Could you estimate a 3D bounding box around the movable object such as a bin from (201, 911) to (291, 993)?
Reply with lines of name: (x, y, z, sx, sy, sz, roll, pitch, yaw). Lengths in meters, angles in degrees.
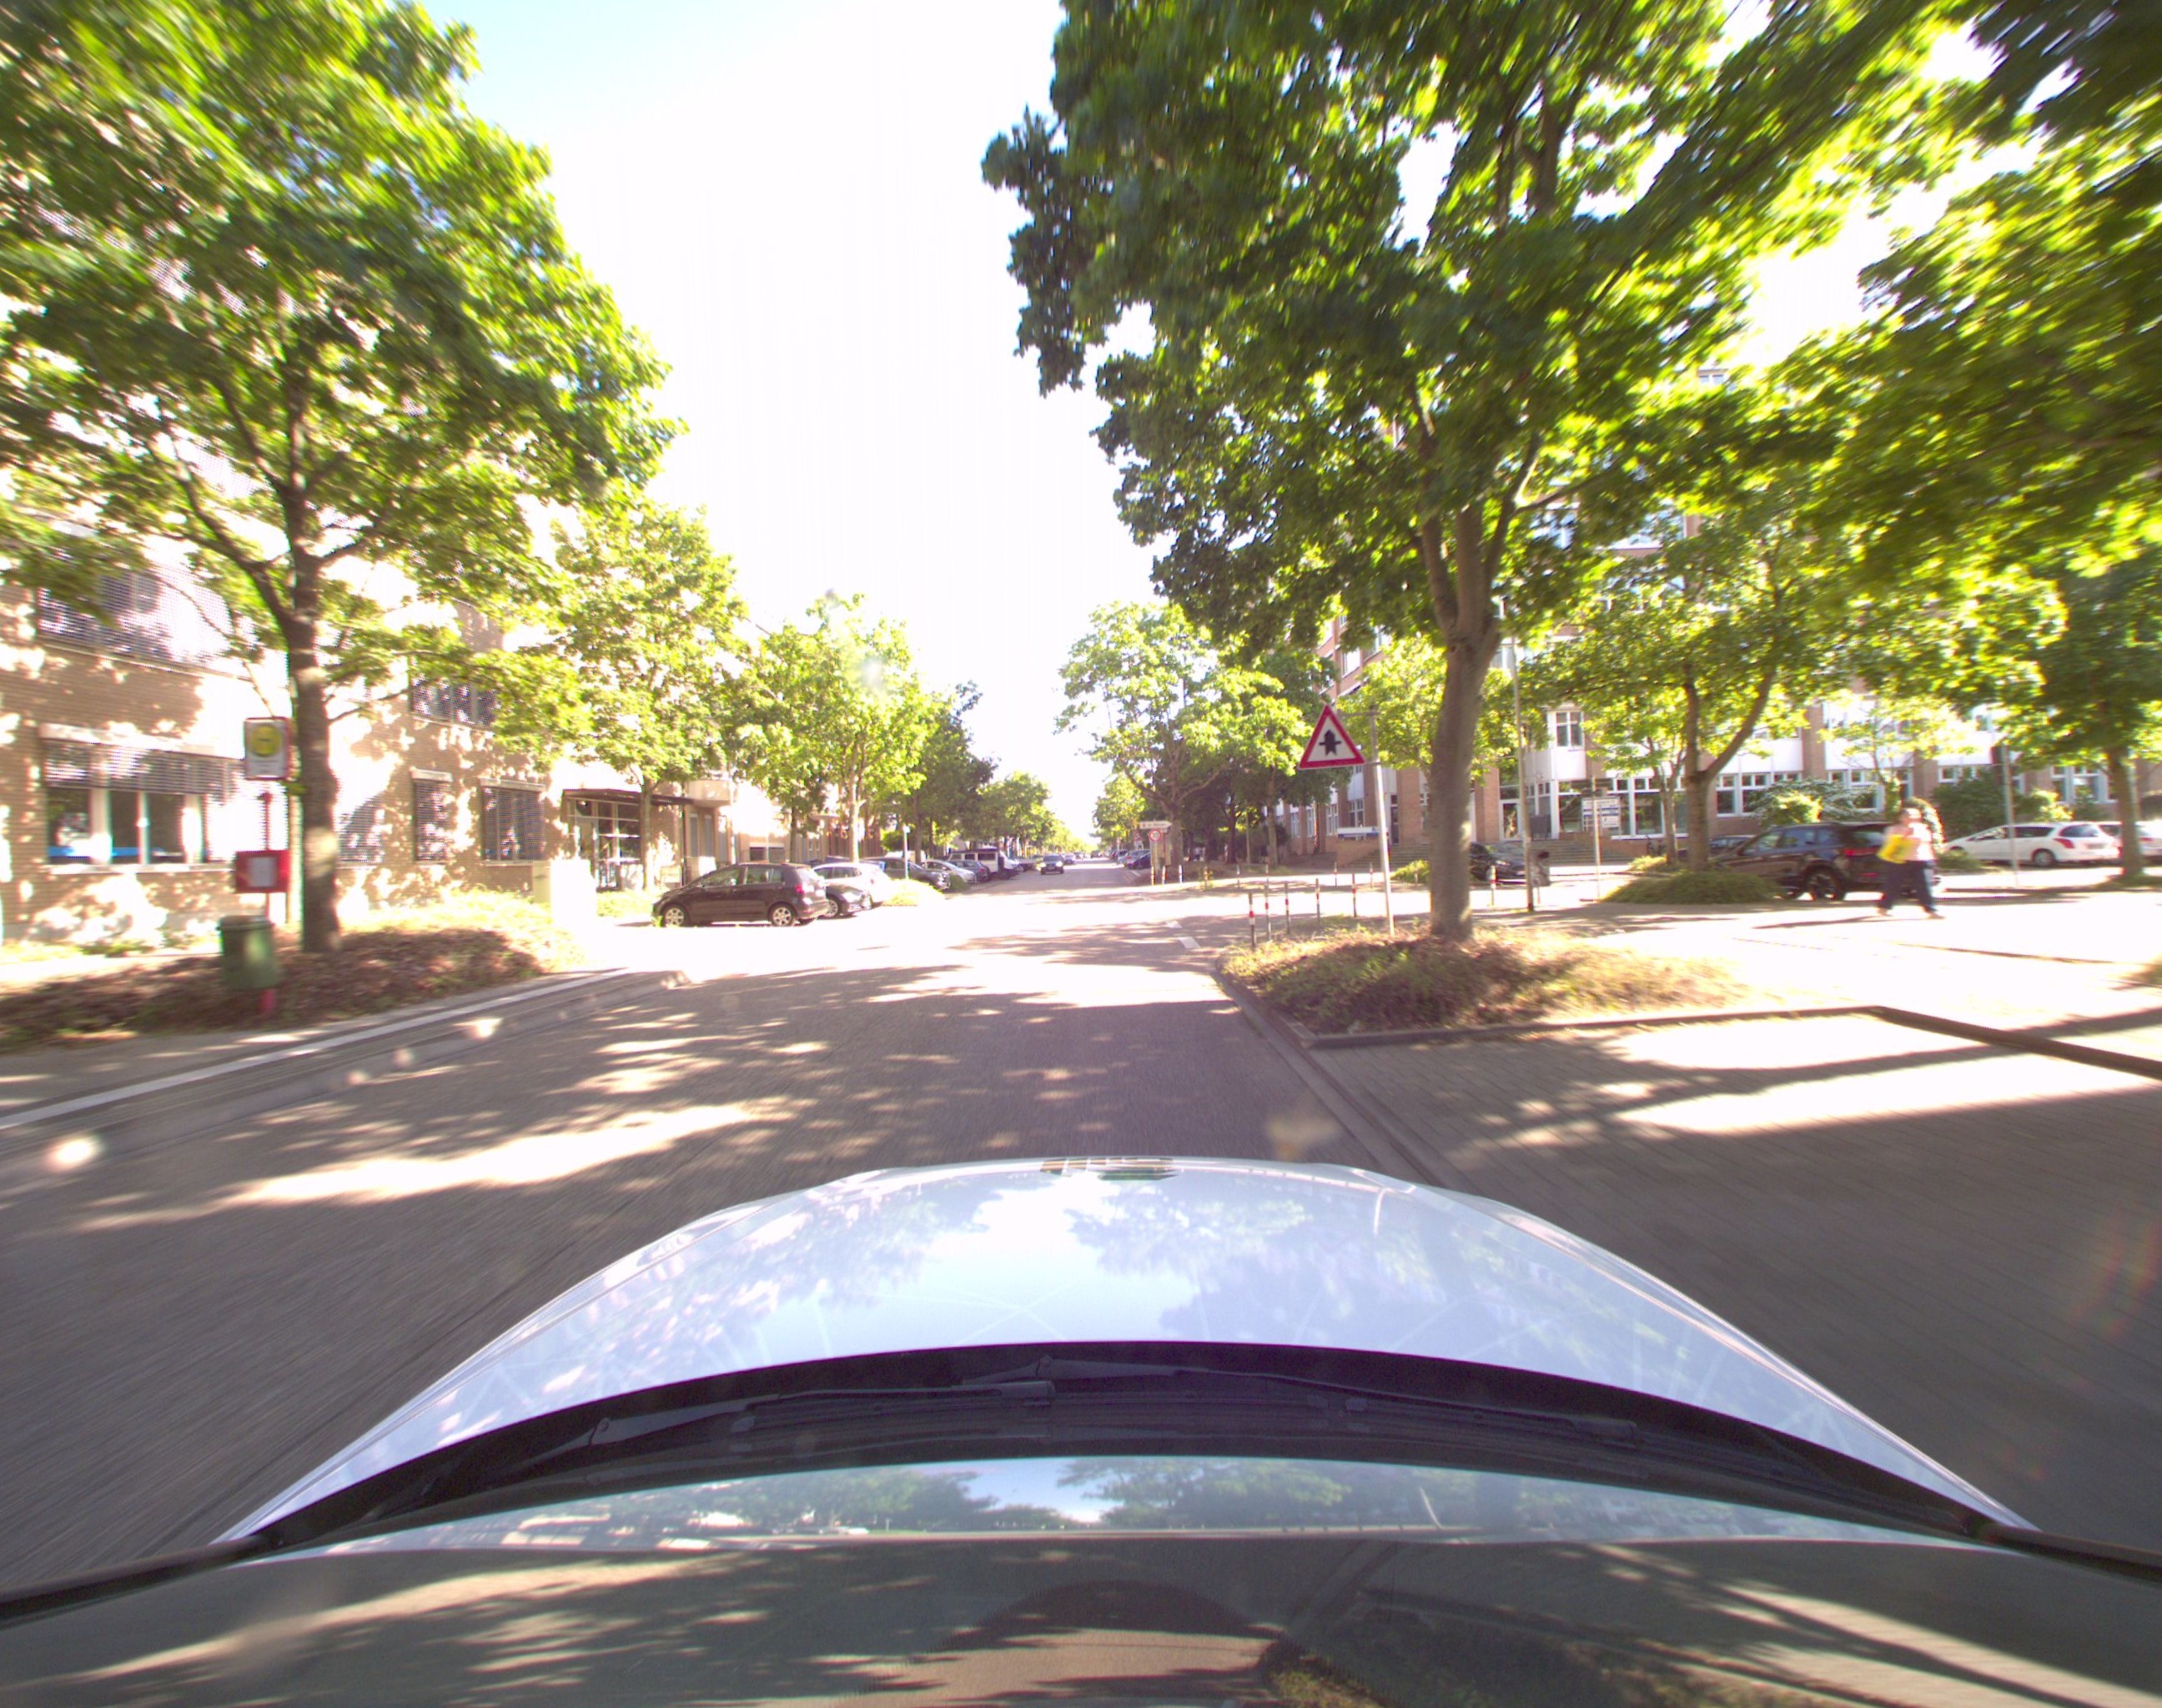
movable object such as a bin: (-7.963, 0.923, 7.778, 0.440, 0.731, 0.408, -1, -1, 1)

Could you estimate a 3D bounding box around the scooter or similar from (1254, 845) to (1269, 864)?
scooter or similar: (12.963, 0.037, 58.469, 0.548, 1.325, 1.803, -1, 0, -4)

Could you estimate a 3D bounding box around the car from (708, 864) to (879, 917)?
car: (-7.944, 0.991, 22.768, 4.137, 1.402, 1.801, 0, 0, 0)

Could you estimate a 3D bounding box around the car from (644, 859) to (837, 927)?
car: (-8.276, 0.923, 20.047, 3.973, 1.570, 1.728, 0, 0, 0)

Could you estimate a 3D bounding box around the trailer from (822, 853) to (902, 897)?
trailer: (-8.791, 0.830, 32.882, 2.715, 1.687, 1.713, -1, 0, 1)

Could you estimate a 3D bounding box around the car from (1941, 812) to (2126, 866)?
car: (33.881, -0.555, 29.173, 1.910, 1.723, 4.116, -2, 1, 3)

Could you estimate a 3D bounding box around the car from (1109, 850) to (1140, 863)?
car: (6.295, 0.337, 118.486, 4.256, 1.633, 1.857, -3, 0, -2)

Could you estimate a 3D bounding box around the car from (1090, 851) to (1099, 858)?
car: (2.959, 0.120, 177.244, 1.926, 1.597, 4.367, -3, 0, 1)

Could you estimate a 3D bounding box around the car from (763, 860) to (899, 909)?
car: (-7.832, 0.947, 25.740, 3.742, 1.452, 1.754, 0, 0, 0)

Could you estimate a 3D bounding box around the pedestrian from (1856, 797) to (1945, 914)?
pedestrian: (11.482, 0.020, 11.427, 0.537, 1.582, 0.646, -2, 0, -8)

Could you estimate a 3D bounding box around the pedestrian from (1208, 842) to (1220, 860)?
pedestrian: (13.363, -0.332, 81.858, 0.696, 1.711, 0.917, -5, 0, -10)

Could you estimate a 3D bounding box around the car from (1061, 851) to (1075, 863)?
car: (-1.647, 0.412, 105.568, 1.638, 1.420, 4.001, -2, 0, 1)

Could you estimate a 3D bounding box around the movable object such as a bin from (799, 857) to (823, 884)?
movable object such as a bin: (-16.430, 0.998, 49.572, 1.145, 1.619, 1.436, -2, 0, -11)

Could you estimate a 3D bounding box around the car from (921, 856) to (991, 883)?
car: (-7.276, 0.904, 47.592, 3.763, 1.492, 1.834, -1, 0, 2)

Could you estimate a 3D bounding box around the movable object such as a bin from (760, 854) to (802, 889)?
movable object such as a bin: (-16.422, 0.943, 44.625, 1.592, 1.796, 1.665, -2, 0, 3)

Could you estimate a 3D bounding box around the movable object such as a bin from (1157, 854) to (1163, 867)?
movable object such as a bin: (4.663, 0.396, 48.038, 0.297, 0.753, 0.467, -4, -1, 1)

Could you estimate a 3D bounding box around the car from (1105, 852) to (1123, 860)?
car: (7.637, 0.430, 190.024, 3.979, 1.792, 1.997, -2, 0, -4)

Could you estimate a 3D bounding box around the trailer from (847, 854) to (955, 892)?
trailer: (-7.720, 0.806, 35.196, 4.250, 1.572, 1.854, -1, 0, -3)

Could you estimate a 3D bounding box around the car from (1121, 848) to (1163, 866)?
car: (6.584, 0.317, 88.363, 4.391, 1.618, 1.912, -5, 0, 0)

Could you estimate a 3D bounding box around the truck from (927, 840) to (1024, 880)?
truck: (-7.140, 0.398, 55.653, 6.209, 2.422, 2.188, -2, 0, 1)

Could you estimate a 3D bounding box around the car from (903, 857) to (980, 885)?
car: (-7.632, 0.912, 44.738, 3.817, 1.461, 1.734, -1, 0, 4)

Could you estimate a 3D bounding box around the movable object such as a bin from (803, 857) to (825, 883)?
movable object such as a bin: (-16.661, 1.008, 50.863, 1.145, 1.563, 1.240, -2, 0, -11)

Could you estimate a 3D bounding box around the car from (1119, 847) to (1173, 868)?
car: (5.518, 0.300, 69.717, 4.345, 1.597, 1.936, -2, 0, -6)

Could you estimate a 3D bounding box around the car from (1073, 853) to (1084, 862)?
car: (-0.512, 0.643, 157.339, 1.886, 1.684, 4.351, -3, 0, -1)

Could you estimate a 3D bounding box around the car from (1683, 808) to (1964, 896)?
car: (15.053, 0.039, 16.921, 1.733, 1.566, 4.363, -1, -2, -1)

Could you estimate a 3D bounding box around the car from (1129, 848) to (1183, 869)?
car: (5.690, 0.347, 62.445, 3.923, 1.439, 1.773, -2, 0, -1)

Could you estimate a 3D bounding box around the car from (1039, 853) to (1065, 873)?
car: (-2.258, 0.692, 64.804, 1.773, 1.511, 4.001, -2, 0, 1)

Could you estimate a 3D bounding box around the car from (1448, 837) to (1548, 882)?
car: (14.948, 0.167, 29.459, 1.646, 1.462, 3.918, -2, 1, 1)

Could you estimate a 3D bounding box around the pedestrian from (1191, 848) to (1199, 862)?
pedestrian: (11.526, 0.100, 82.399, 0.698, 1.458, 0.715, -3, 0, -2)

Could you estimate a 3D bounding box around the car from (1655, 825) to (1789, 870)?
car: (23.086, -0.224, 29.565, 1.681, 1.461, 4.277, -2, 0, 4)

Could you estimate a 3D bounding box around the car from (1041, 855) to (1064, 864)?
car: (-5.099, 1.010, 144.633, 3.880, 1.464, 1.858, -2, 0, 0)

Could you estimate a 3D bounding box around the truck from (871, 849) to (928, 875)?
truck: (-21.494, 0.921, 96.813, 6.086, 2.704, 2.577, -3, 0, -1)

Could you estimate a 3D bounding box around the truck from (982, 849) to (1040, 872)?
truck: (-6.397, 0.585, 74.905, 4.965, 1.959, 2.139, -2, 0, 2)

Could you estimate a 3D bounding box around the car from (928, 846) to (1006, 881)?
car: (-6.994, 0.587, 50.307, 4.469, 2.052, 1.999, -1, -1, -1)
